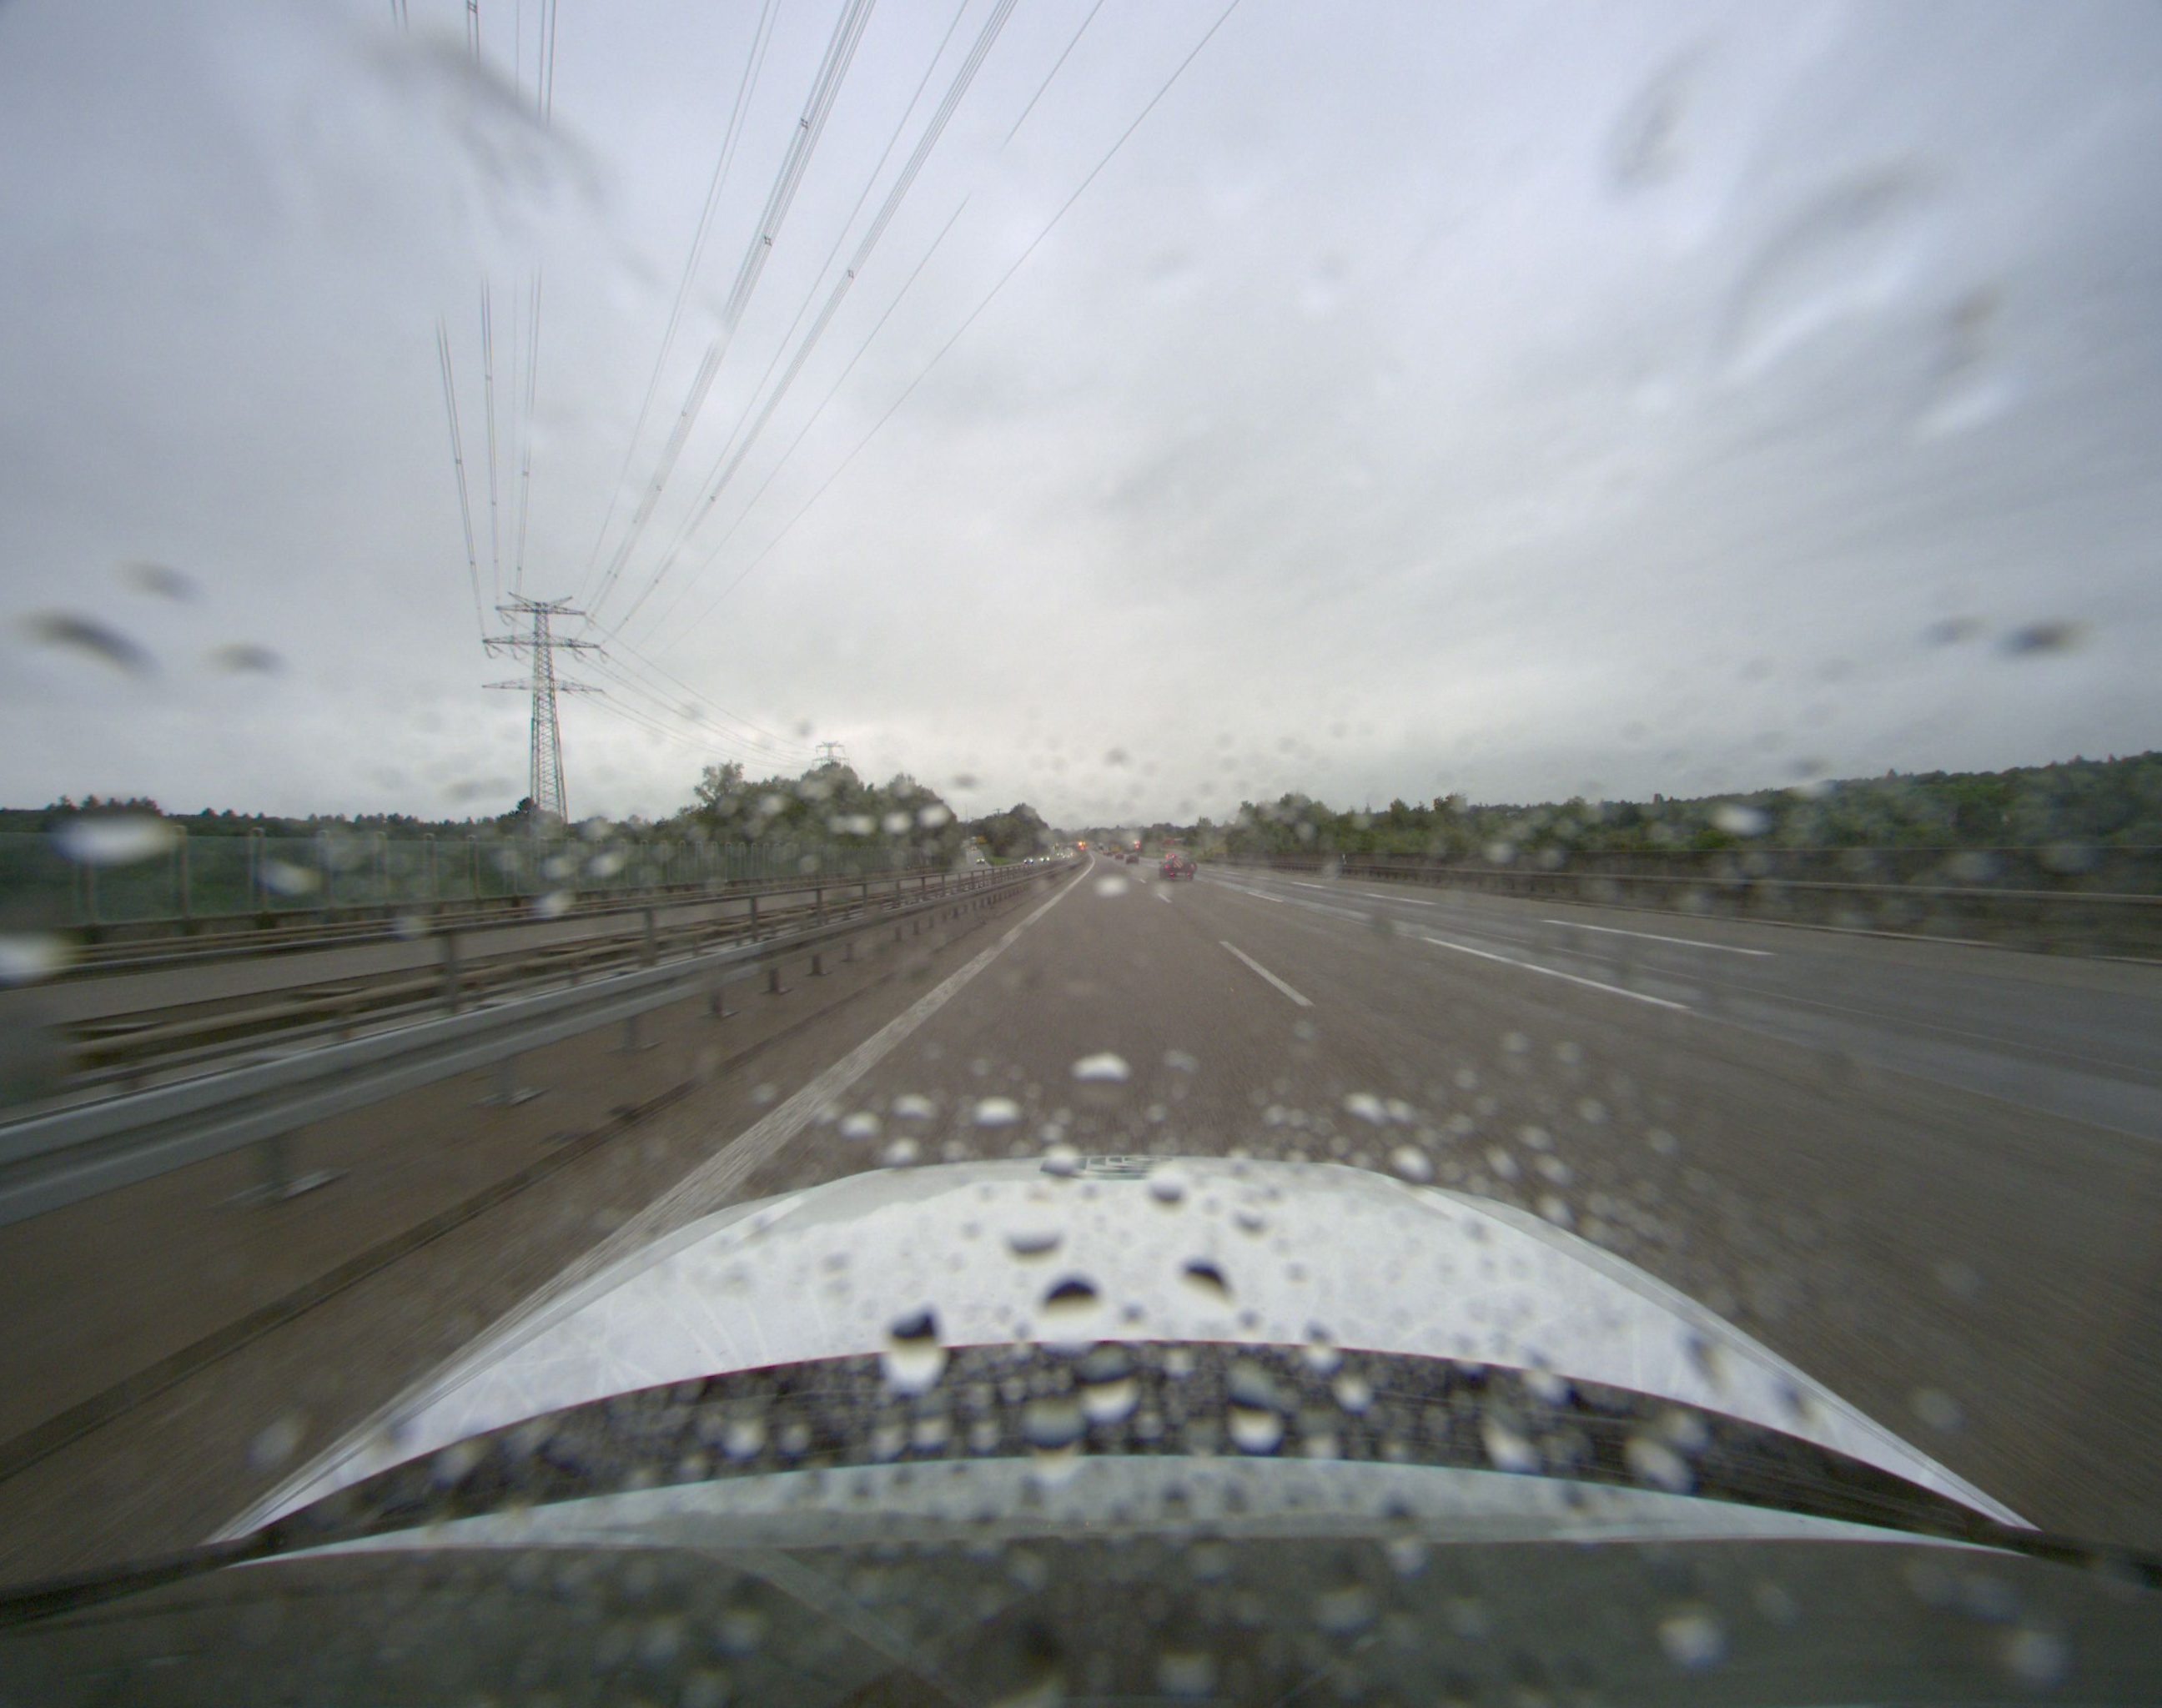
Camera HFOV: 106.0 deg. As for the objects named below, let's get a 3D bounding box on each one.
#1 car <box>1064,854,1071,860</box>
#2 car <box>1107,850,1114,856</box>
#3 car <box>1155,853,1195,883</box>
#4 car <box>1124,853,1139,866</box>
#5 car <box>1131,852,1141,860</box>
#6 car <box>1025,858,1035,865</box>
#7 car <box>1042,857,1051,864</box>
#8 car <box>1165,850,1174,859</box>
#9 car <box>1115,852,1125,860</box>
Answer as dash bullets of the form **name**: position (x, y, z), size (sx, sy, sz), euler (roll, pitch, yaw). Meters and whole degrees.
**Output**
- **car**: position (-3.878, 0.885, 231.140), size (1.650, 1.437, 4.090), euler (-3, 0, 1)
- **car**: position (9.475, -0.357, 258.810), size (1.987, 1.628, 3.999), euler (-3, 1, 0)
- **car**: position (5.595, 0.827, 48.930), size (2.049, 1.671, 5.526), euler (-1, 0, 3)
- **car**: position (7.504, 0.763, 120.948), size (1.987, 1.761, 3.999), euler (-3, 1, 0)
- **car**: position (12.767, 0.469, 187.981), size (1.987, 1.761, 3.999), euler (-3, 1, 0)
- **car**: position (-11.593, 1.664, 185.739), size (1.809, 1.388, 4.090), euler (-3, 0, 1)
- **car**: position (-8.325, 1.540, 195.897), size (1.809, 1.437, 4.090), euler (-3, 0, 1)
- **car**: position (19.164, 0.102, 175.707), size (1.912, 1.709, 4.007), euler (-3, 0, 6)
- **car**: position (8.878, 0.475, 184.179), size (1.987, 1.628, 3.999), euler (-3, 1, 0)
